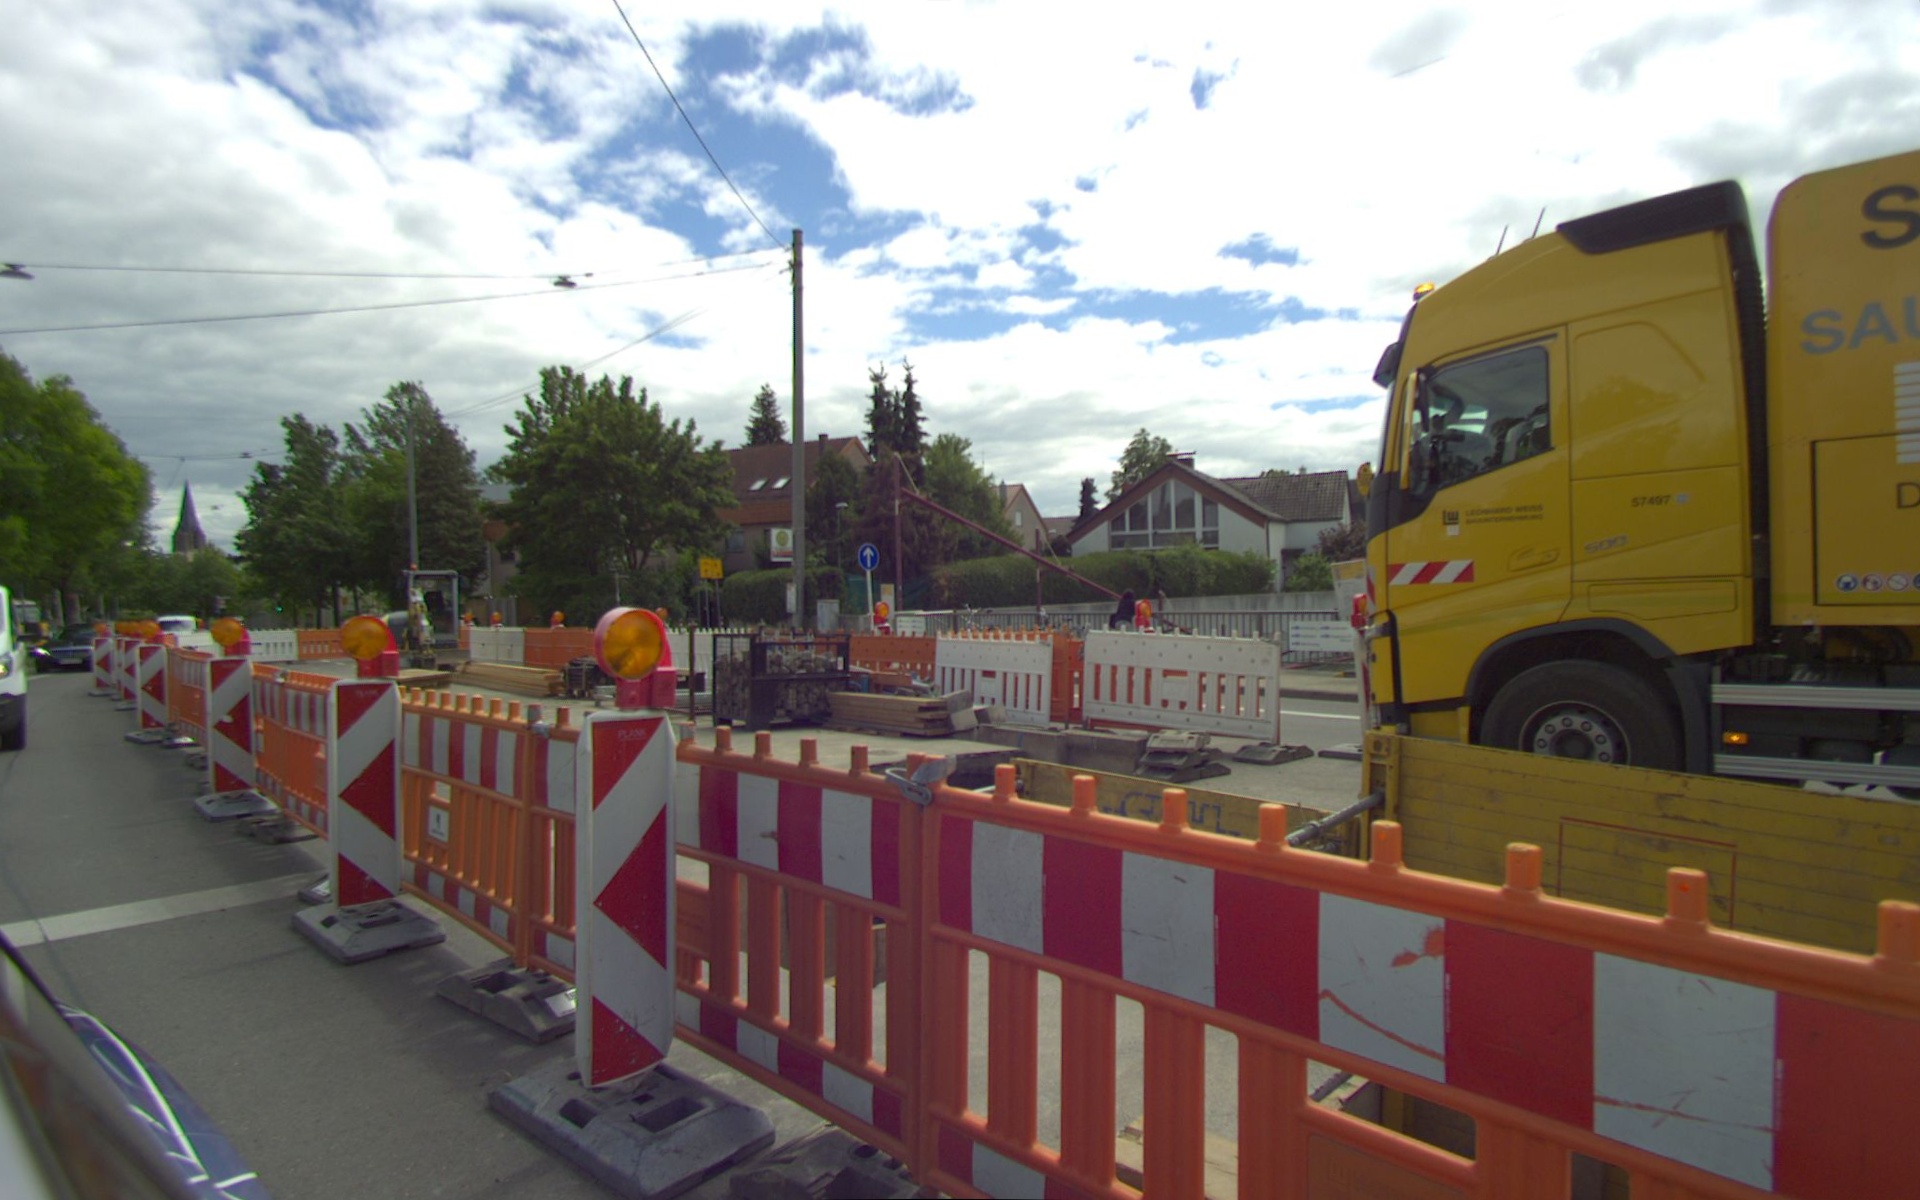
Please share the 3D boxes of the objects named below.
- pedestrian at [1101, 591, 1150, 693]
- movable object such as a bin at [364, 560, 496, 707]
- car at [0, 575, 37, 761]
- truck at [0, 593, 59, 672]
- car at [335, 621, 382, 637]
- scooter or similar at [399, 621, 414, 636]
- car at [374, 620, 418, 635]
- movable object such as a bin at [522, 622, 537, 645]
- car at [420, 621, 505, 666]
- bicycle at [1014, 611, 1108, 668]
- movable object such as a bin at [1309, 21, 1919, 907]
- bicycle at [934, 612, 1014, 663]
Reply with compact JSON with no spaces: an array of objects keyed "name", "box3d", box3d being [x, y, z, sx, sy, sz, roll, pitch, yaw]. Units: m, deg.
[{"name":"pedestrian","box3d":[3.143,0.782,19.238,0.671,1.901,0.586,-1,-1,-42]},{"name":"movable object such as a bin","box3d":[-11.417,0.654,21.512,1.966,2.645,6.541,-1,-1,-32]},{"name":"car","box3d":[-12.931,0.804,12.597,1.969,2.028,5.520,-3,2,-42]},{"name":"truck","box3d":[-43.035,1.603,43.566,6.549,3.222,2.339,-5,-1,5]},{"name":"car","box3d":[-66.013,3.155,111.053,1.989,1.519,3.966,-2,0,25]},{"name":"scooter or similar","box3d":[-33.506,1.722,61.275,0.628,0.871,1.033,-2,0,-36]},{"name":"car","box3d":[-64.504,3.168,115.871,1.990,1.519,3.963,-2,0,28]},{"name":"movable object such as a bin","box3d":[-19.563,1.511,45.970,0.469,1.018,0.496,-1,-1,-40]},{"name":"car","box3d":[-18.623,1.589,37.790,1.831,1.524,4.448,-1,-1,-40]},{"name":"bicycle","box3d":[2.037,0.789,20.718,0.531,1.091,2.135,-1,-1,-39]},{"name":"movable object such as a bin","box3d":[7.327,-0.717,4.017,11.123,4.253,2.562,-2,-1,44]},{"name":"bicycle","box3d":[0.294,0.837,22.764,0.531,1.091,2.135,-1,-1,-39]}]
